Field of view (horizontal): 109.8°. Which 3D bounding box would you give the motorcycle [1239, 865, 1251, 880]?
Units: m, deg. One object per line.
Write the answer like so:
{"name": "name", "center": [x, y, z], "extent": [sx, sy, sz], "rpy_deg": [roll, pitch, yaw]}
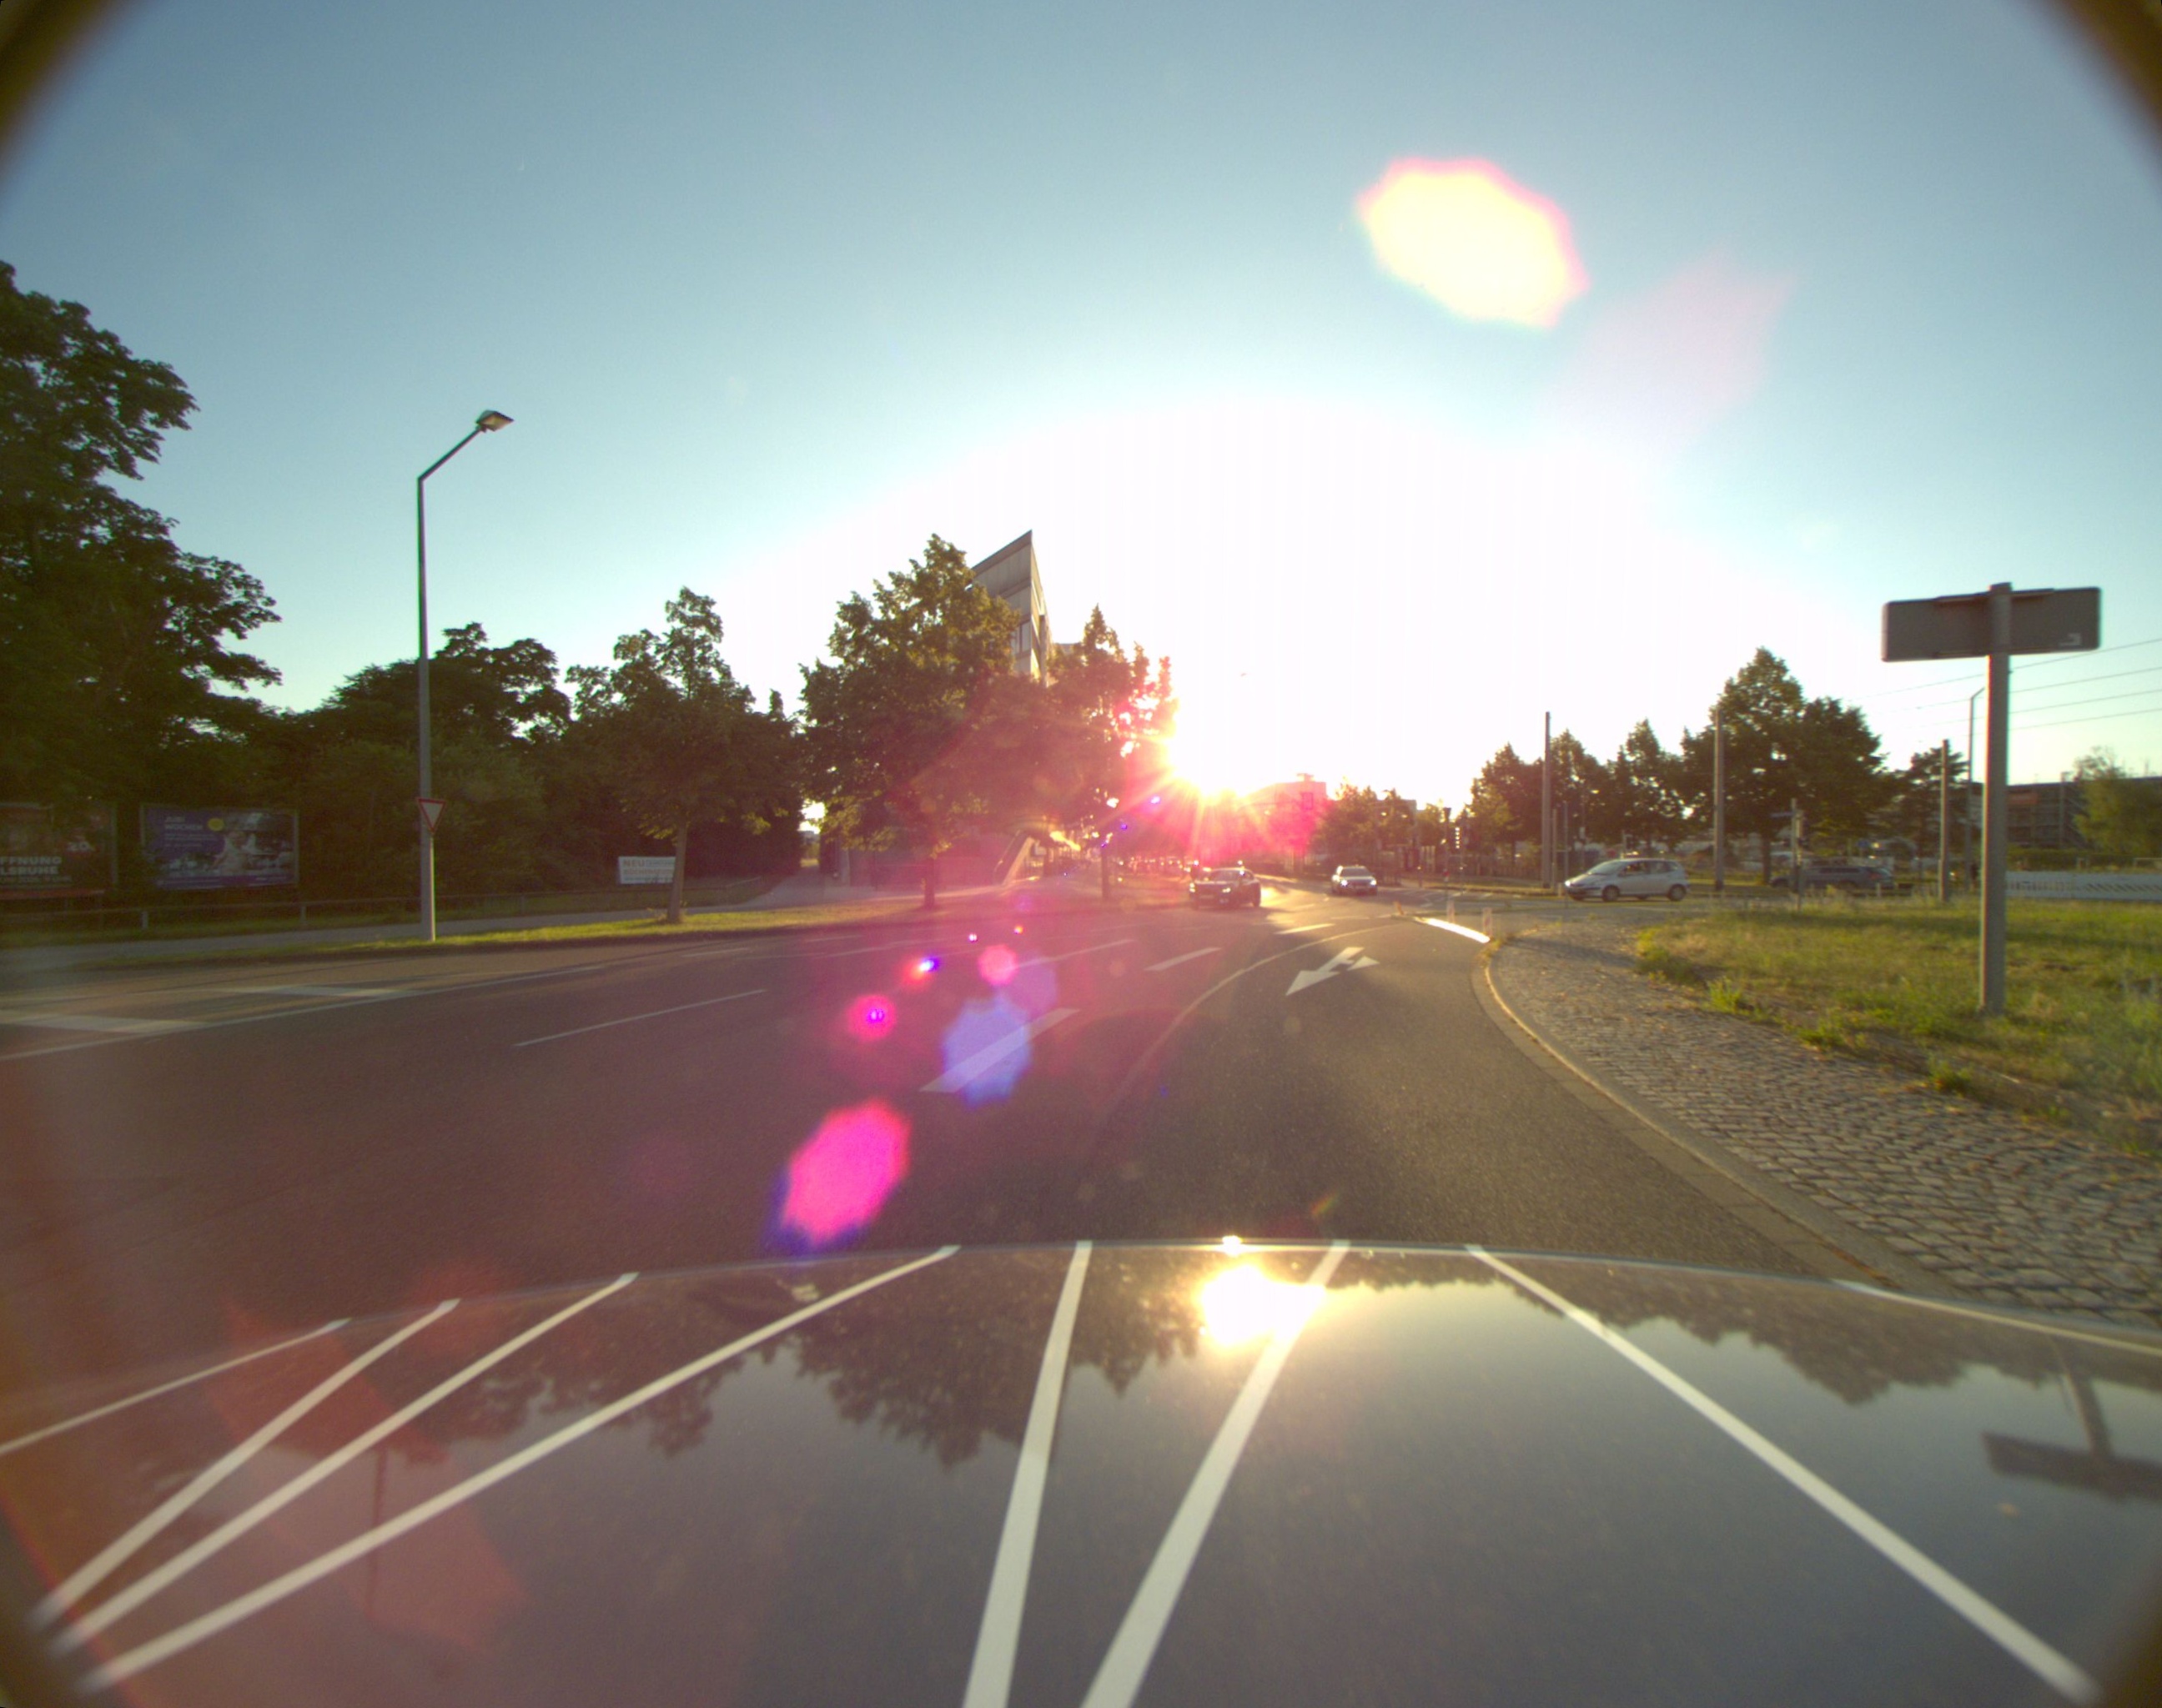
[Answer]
{"name": "motorcycle", "center": [13.414, 1.509, 62.312], "extent": [0.557, 1.094, 2.160], "rpy_deg": [0, 0, 1]}

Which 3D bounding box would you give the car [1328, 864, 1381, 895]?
{"name": "car", "center": [13.721, 1.255, 38.374], "extent": [1.800, 1.414, 4.453], "rpy_deg": [0, 0, 10]}

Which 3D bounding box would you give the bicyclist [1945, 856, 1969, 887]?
{"name": "bicyclist", "center": [46.244, 0.904, 40.110], "extent": [0.697, 1.624, 0.796], "rpy_deg": [0, 0, -40]}

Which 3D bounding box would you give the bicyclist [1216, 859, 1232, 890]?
{"name": "bicyclist", "center": [8.111, 1.155, 43.227], "extent": [0.848, 1.745, 0.804], "rpy_deg": [0, 0, 8]}

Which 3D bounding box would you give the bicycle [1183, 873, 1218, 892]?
{"name": "bicycle", "center": [6.529, 1.535, 41.519], "extent": [1.863, 1.016, 0.308], "rpy_deg": [0, 0, -8]}

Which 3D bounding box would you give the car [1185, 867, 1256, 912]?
{"name": "car", "center": [5.181, 1.244, 27.867], "extent": [1.799, 1.455, 4.007], "rpy_deg": [0, 0, 22]}

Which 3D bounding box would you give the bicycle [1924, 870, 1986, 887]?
{"name": "bicycle", "center": [46.241, 1.285, 40.221], "extent": [0.513, 0.841, 2.129], "rpy_deg": [0, 0, -40]}

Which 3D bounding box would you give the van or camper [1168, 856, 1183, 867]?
{"name": "van or camper", "center": [17.278, 1.385, 139.180], "extent": [1.998, 1.946, 5.328], "rpy_deg": [0, 0, 1]}

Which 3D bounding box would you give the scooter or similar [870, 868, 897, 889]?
{"name": "scooter or similar", "center": [-11.738, 1.437, 45.135], "extent": [1.574, 1.213, 0.367], "rpy_deg": [0, 0, 11]}

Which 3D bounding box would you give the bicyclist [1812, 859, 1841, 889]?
{"name": "bicyclist", "center": [42.017, 1.127, 42.840], "extent": [0.814, 1.630, 0.815], "rpy_deg": [0, 0, 5]}

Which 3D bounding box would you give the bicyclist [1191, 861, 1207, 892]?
{"name": "bicyclist", "center": [6.461, 1.214, 41.525], "extent": [0.684, 1.638, 0.683], "rpy_deg": [0, 0, -8]}

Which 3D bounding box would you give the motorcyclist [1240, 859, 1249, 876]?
{"name": "motorcyclist", "center": [13.426, 1.127, 62.484], "extent": [0.636, 1.400, 0.594], "rpy_deg": [0, 1, 2]}

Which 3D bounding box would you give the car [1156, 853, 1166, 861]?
{"name": "car", "center": [17.106, 0.650, 162.707], "extent": [1.719, 1.827, 3.999], "rpy_deg": [0, 0, -2]}

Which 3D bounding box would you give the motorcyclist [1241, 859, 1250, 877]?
{"name": "motorcyclist", "center": [13.405, 1.143, 61.830], "extent": [0.636, 1.408, 0.715], "rpy_deg": [0, 1, 2]}

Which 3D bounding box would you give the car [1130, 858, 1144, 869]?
{"name": "car", "center": [8.080, 1.360, 110.272], "extent": [1.802, 1.455, 4.000], "rpy_deg": [0, 0, 1]}

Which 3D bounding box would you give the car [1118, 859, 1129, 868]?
{"name": "car", "center": [7.080, 1.556, 126.849], "extent": [1.802, 1.455, 4.000], "rpy_deg": [0, 0, 1]}

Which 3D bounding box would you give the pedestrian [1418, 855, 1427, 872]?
{"name": "pedestrian", "center": [33.078, 0.923, 73.575], "extent": [0.708, 1.623, 0.446], "rpy_deg": [0, 0, -1]}

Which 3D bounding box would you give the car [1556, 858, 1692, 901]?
{"name": "car", "center": [19.170, 0.890, 26.911], "extent": [3.709, 1.457, 1.606], "rpy_deg": [0, 0, -2]}

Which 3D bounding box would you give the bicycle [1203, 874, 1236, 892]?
{"name": "bicycle", "center": [7.942, 1.633, 43.539], "extent": [1.861, 1.016, 0.438], "rpy_deg": [0, 0, 8]}

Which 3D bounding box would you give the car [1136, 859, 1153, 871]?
{"name": "car", "center": [7.827, 1.380, 94.340], "extent": [1.802, 1.455, 4.000], "rpy_deg": [0, 0, 1]}

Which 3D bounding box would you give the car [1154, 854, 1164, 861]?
{"name": "car", "center": [18.311, 0.740, 178.088], "extent": [1.893, 1.613, 3.999], "rpy_deg": [0, 0, -1]}

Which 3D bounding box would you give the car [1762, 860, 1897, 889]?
{"name": "car", "center": [38.730, 1.011, 39.484], "extent": [1.933, 1.407, 4.645], "rpy_deg": [0, 0, -16]}

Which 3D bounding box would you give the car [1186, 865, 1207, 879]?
{"name": "car", "center": [13.524, 2.123, 89.412], "extent": [1.891, 1.472, 4.051], "rpy_deg": [0, 0, 0]}

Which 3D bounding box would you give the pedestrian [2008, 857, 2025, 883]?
{"name": "pedestrian", "center": [49.373, 0.857, 40.093], "extent": [0.434, 1.358, 0.502], "rpy_deg": [0, 0, -30]}

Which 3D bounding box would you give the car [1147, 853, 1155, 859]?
{"name": "car", "center": [18.403, 0.519, 198.909], "extent": [1.802, 1.455, 4.000], "rpy_deg": [0, 0, 1]}

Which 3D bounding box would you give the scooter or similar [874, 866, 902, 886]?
{"name": "scooter or similar", "center": [-11.605, 1.340, 45.689], "extent": [1.574, 1.213, 0.367], "rpy_deg": [0, 0, 11]}
